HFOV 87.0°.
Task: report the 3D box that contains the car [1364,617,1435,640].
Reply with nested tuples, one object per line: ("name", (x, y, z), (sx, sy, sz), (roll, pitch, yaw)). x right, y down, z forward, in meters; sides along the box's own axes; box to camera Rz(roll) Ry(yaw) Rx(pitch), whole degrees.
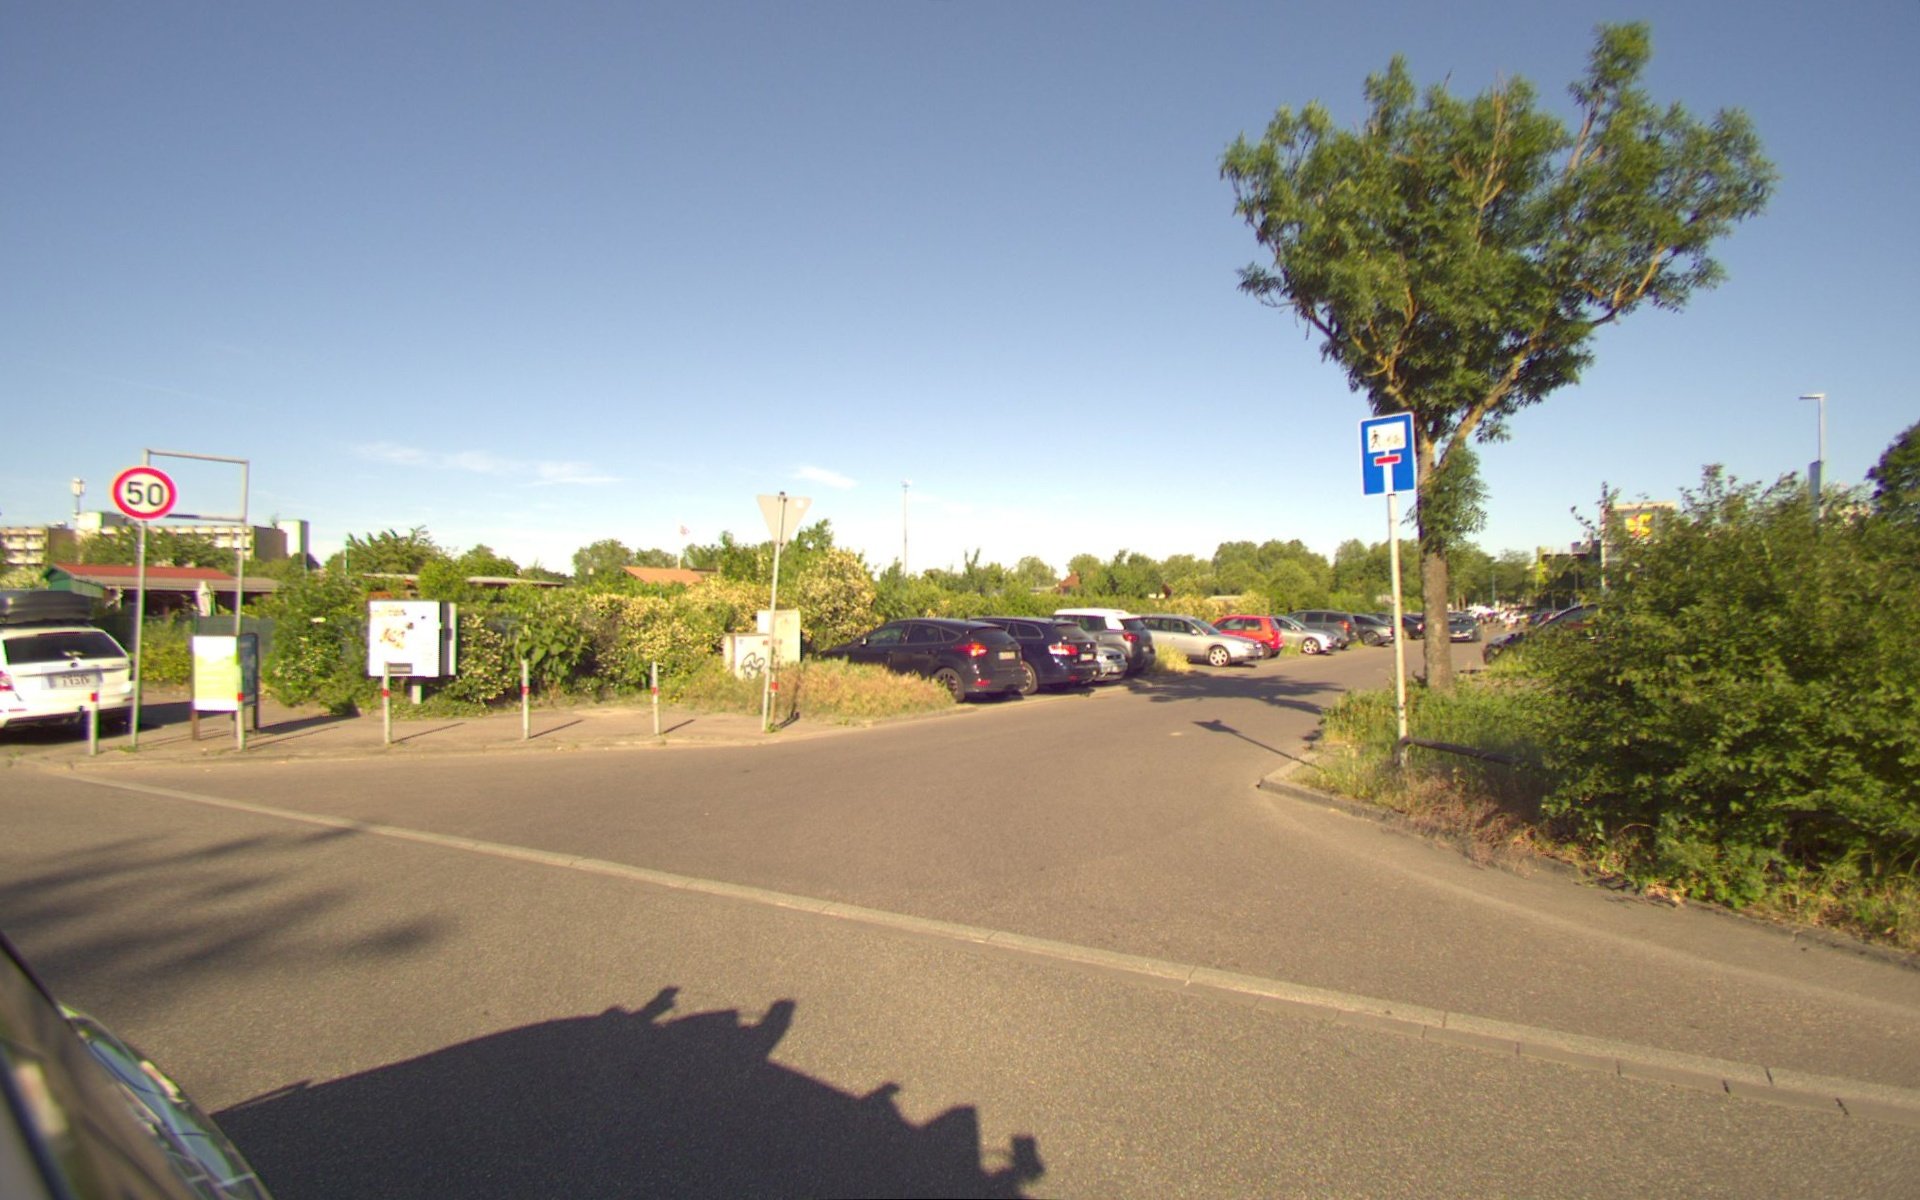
("car", (25.963, 1.690, 59.818), (3.673, 1.274, 1.495), (-1, -4, 31))

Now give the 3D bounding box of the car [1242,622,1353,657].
("car", (12.948, 1.486, 38.887), (3.831, 1.273, 1.495), (-1, -1, 31))

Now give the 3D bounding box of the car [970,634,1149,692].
("car", (2.197, 1.377, 22.849), (3.840, 1.160, 1.491), (-1, -1, 38))

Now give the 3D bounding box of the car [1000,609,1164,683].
("car", (2.987, 1.104, 25.167), (3.840, 1.707, 1.491), (-1, -1, 38))

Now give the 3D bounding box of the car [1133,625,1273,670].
("car", (7.302, 1.410, 30.507), (3.831, 1.274, 1.495), (-1, -4, 31))

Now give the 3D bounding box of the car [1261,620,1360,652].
("car", (14.970, 1.537, 43.272), (3.831, 1.274, 1.495), (-1, -4, 31))

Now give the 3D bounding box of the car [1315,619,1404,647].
("car", (19.330, 1.590, 49.036), (3.831, 1.274, 1.495), (-1, -4, 31))

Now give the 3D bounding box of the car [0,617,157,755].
("car", (-12.670, 1.056, 13.440), (4.501, 1.524, 1.683), (-2, 1, 32))

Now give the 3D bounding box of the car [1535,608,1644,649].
("car", (27.771, 1.254, 44.748), (3.987, 1.714, 1.978), (-1, -1, 32))

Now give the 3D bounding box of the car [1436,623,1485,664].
("car", (26.878, 2.293, 54.280), (1.993, 2.029, 3.956), (-1, -1, 32))

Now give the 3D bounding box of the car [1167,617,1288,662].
("car", (9.340, 1.347, 35.468), (3.840, 1.496, 1.491), (-1, -1, 38))

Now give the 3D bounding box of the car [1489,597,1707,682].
("car", (14.582, 0.879, 23.256), (4.097, 1.803, 1.491), (-1, -1, 38))

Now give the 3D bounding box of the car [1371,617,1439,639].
("car", (27.269, 1.695, 62.032), (3.673, 1.274, 1.495), (-1, -4, 31))
